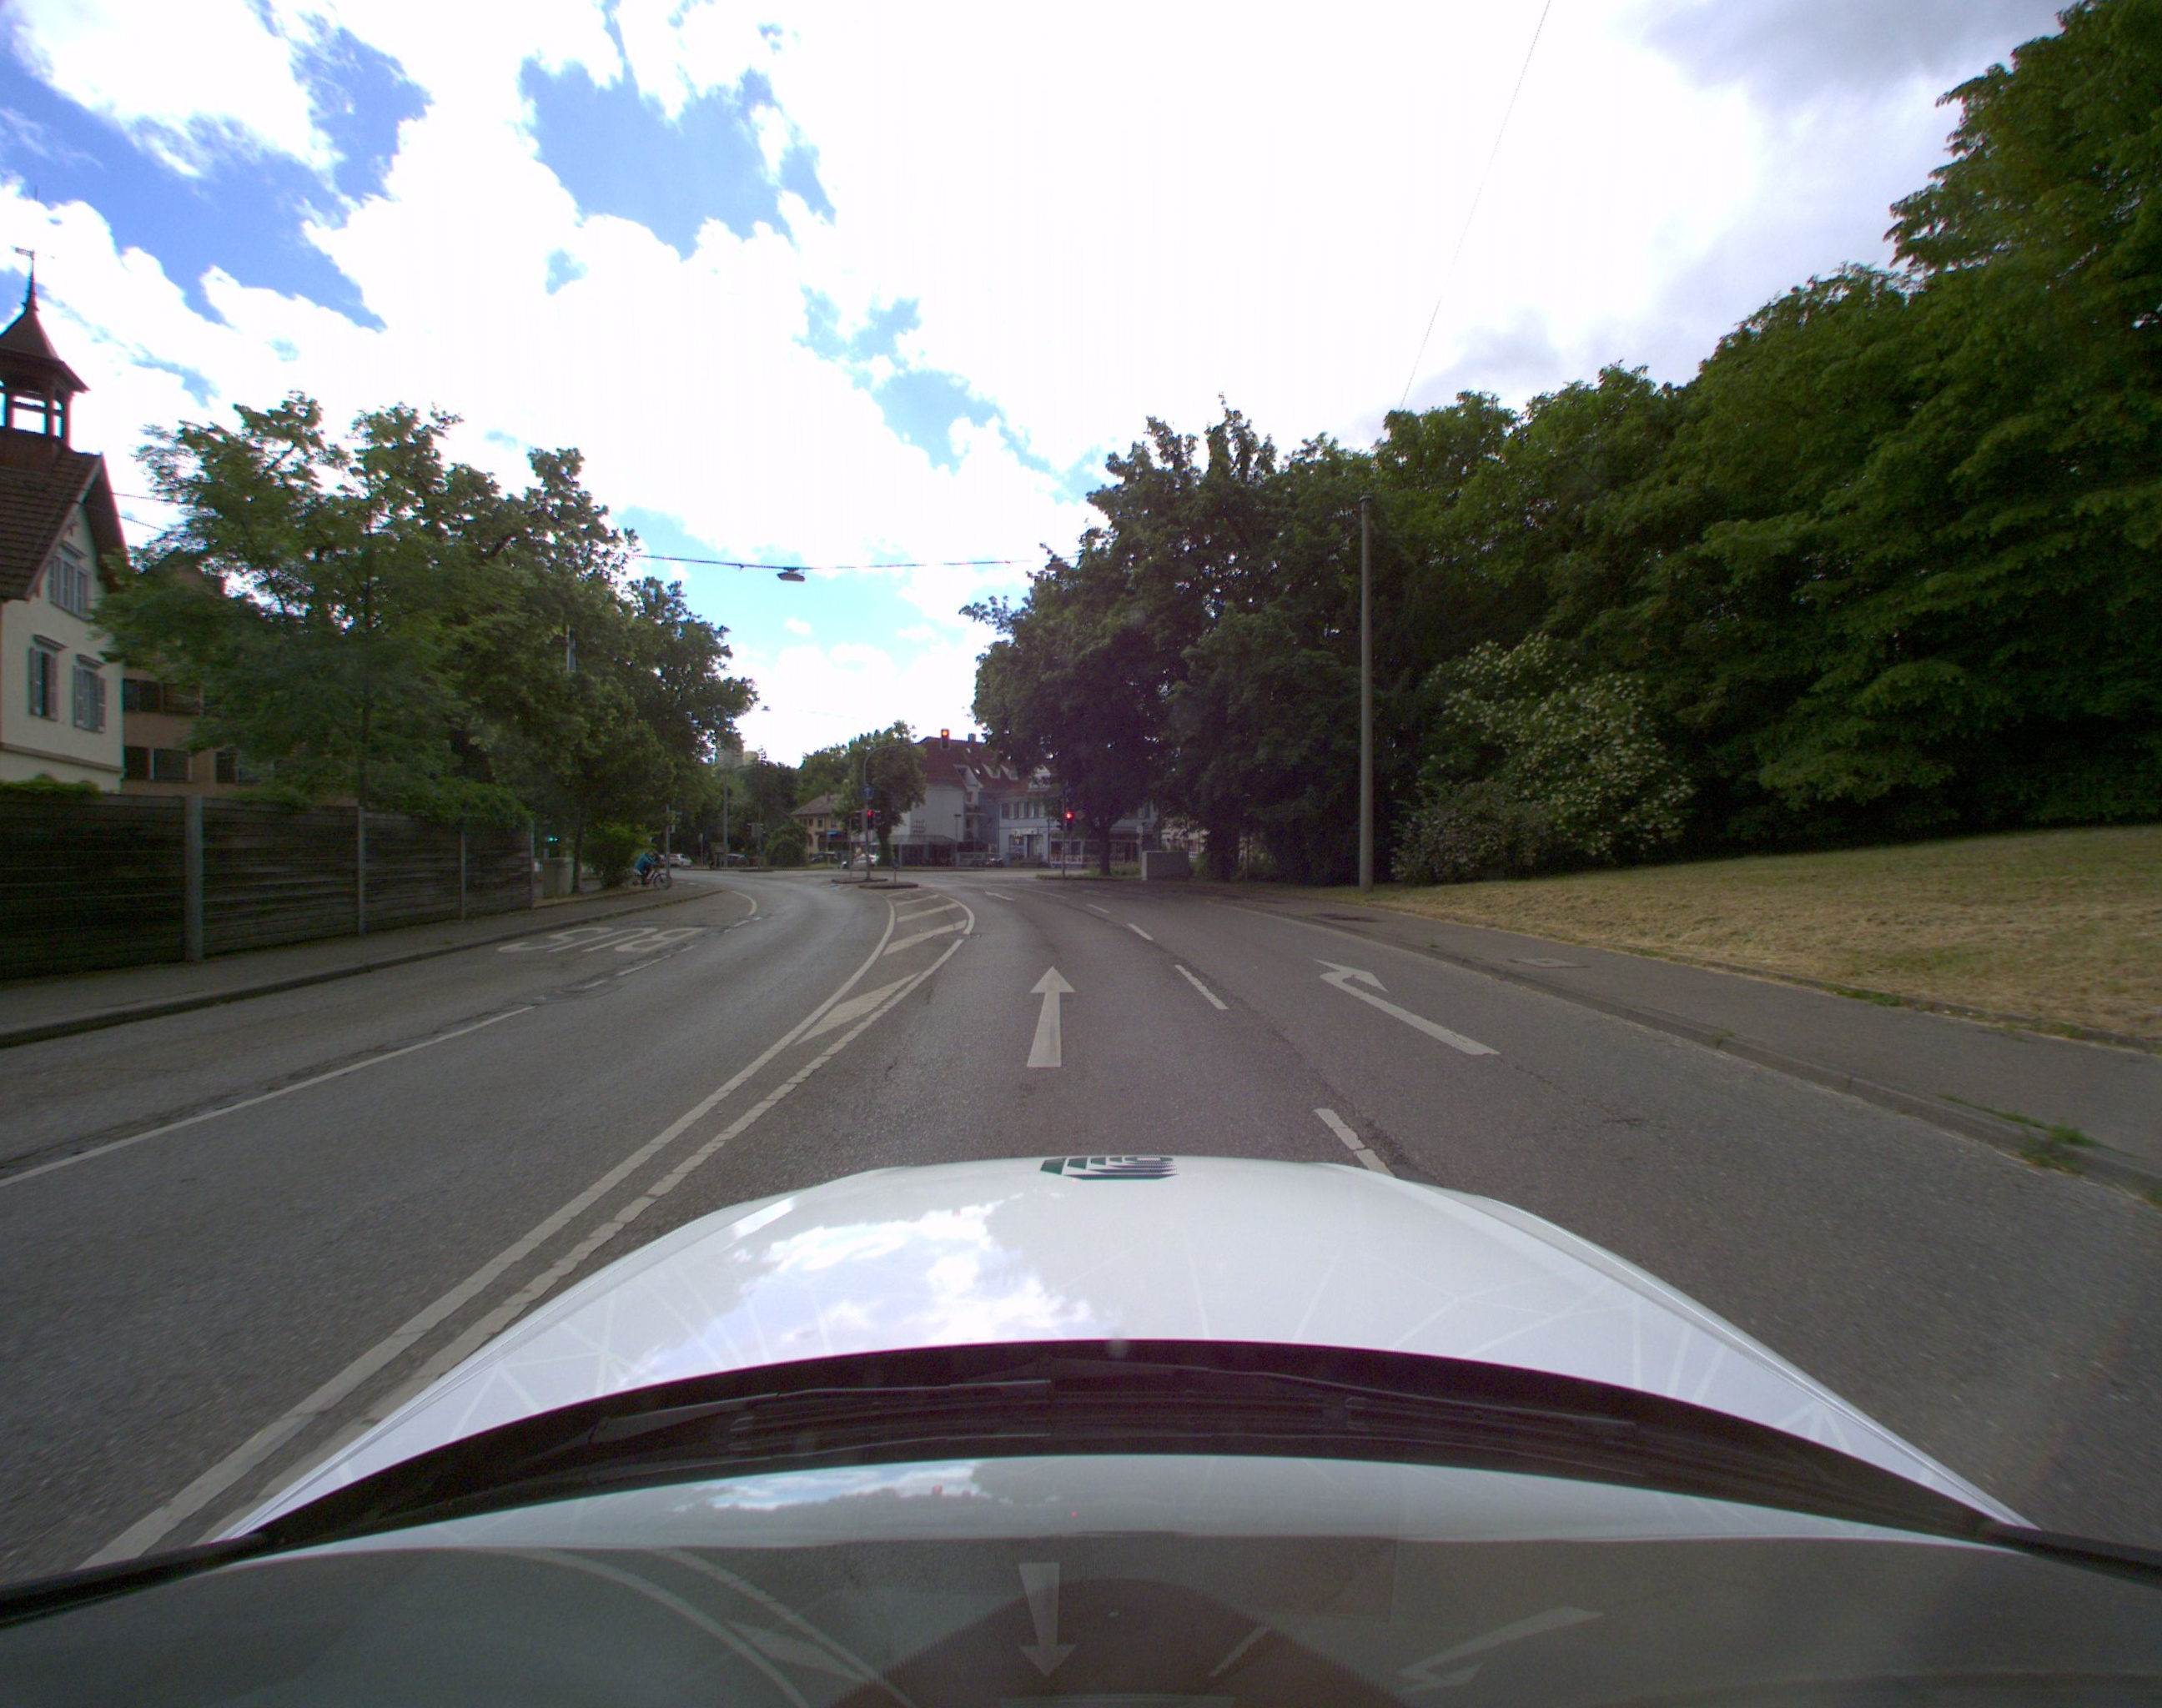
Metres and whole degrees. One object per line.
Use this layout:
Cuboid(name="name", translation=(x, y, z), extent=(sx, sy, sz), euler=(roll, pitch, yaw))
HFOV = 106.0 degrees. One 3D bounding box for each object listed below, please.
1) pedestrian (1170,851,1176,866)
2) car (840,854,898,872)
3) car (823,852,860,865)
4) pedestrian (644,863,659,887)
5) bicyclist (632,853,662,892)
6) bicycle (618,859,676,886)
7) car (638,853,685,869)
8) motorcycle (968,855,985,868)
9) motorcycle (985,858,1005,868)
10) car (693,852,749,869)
Cuboid(name="pedestrian", translation=(9.253, 0.448, 81.876), extent=(0.494, 1.552, 0.407), euler=(-1, 0, 44))
Cuboid(name="car", translation=(-18.881, 0.804, 72.557), extent=(4.542, 1.517, 2.009), euler=(-1, 0, 16))
Cuboid(name="car", translation=(-29.286, 0.553, 99.556), extent=(4.019, 1.486, 1.740), euler=(-1, 0, -38))
Cuboid(name="pedestrian", translation=(-39.623, 1.979, 75.135), extent=(0.850, 2.178, 0.780), euler=(-1, 0, 19))
Cuboid(name="bicyclist", translation=(-18.053, 0.769, 33.913), extent=(1.105, 1.599, 0.932), euler=(0, 0, -28))
Cuboid(name="bicycle", translation=(-18.058, 0.748, 33.919), extent=(2.082, 1.082, 0.932), euler=(0, 0, -28))
Cuboid(name="car", translation=(-44.368, 0.764, 86.201), extent=(3.963, 1.574, 2.005), euler=(-1, 0, 9))
Cuboid(name="motorcycle", translation=(-10.197, 0.729, 79.822), extent=(1.484, 1.106, 0.563), euler=(-2, 5, 14))
Cuboid(name="motorcycle", translation=(-8.308, 0.844, 78.609), extent=(1.821, 0.848, 0.563), euler=(-1, 5, 18))
Cuboid(name="car", translation=(-33.858, 0.603, 76.572), extent=(4.542, 1.517, 2.009), euler=(-1, 0, 16))
